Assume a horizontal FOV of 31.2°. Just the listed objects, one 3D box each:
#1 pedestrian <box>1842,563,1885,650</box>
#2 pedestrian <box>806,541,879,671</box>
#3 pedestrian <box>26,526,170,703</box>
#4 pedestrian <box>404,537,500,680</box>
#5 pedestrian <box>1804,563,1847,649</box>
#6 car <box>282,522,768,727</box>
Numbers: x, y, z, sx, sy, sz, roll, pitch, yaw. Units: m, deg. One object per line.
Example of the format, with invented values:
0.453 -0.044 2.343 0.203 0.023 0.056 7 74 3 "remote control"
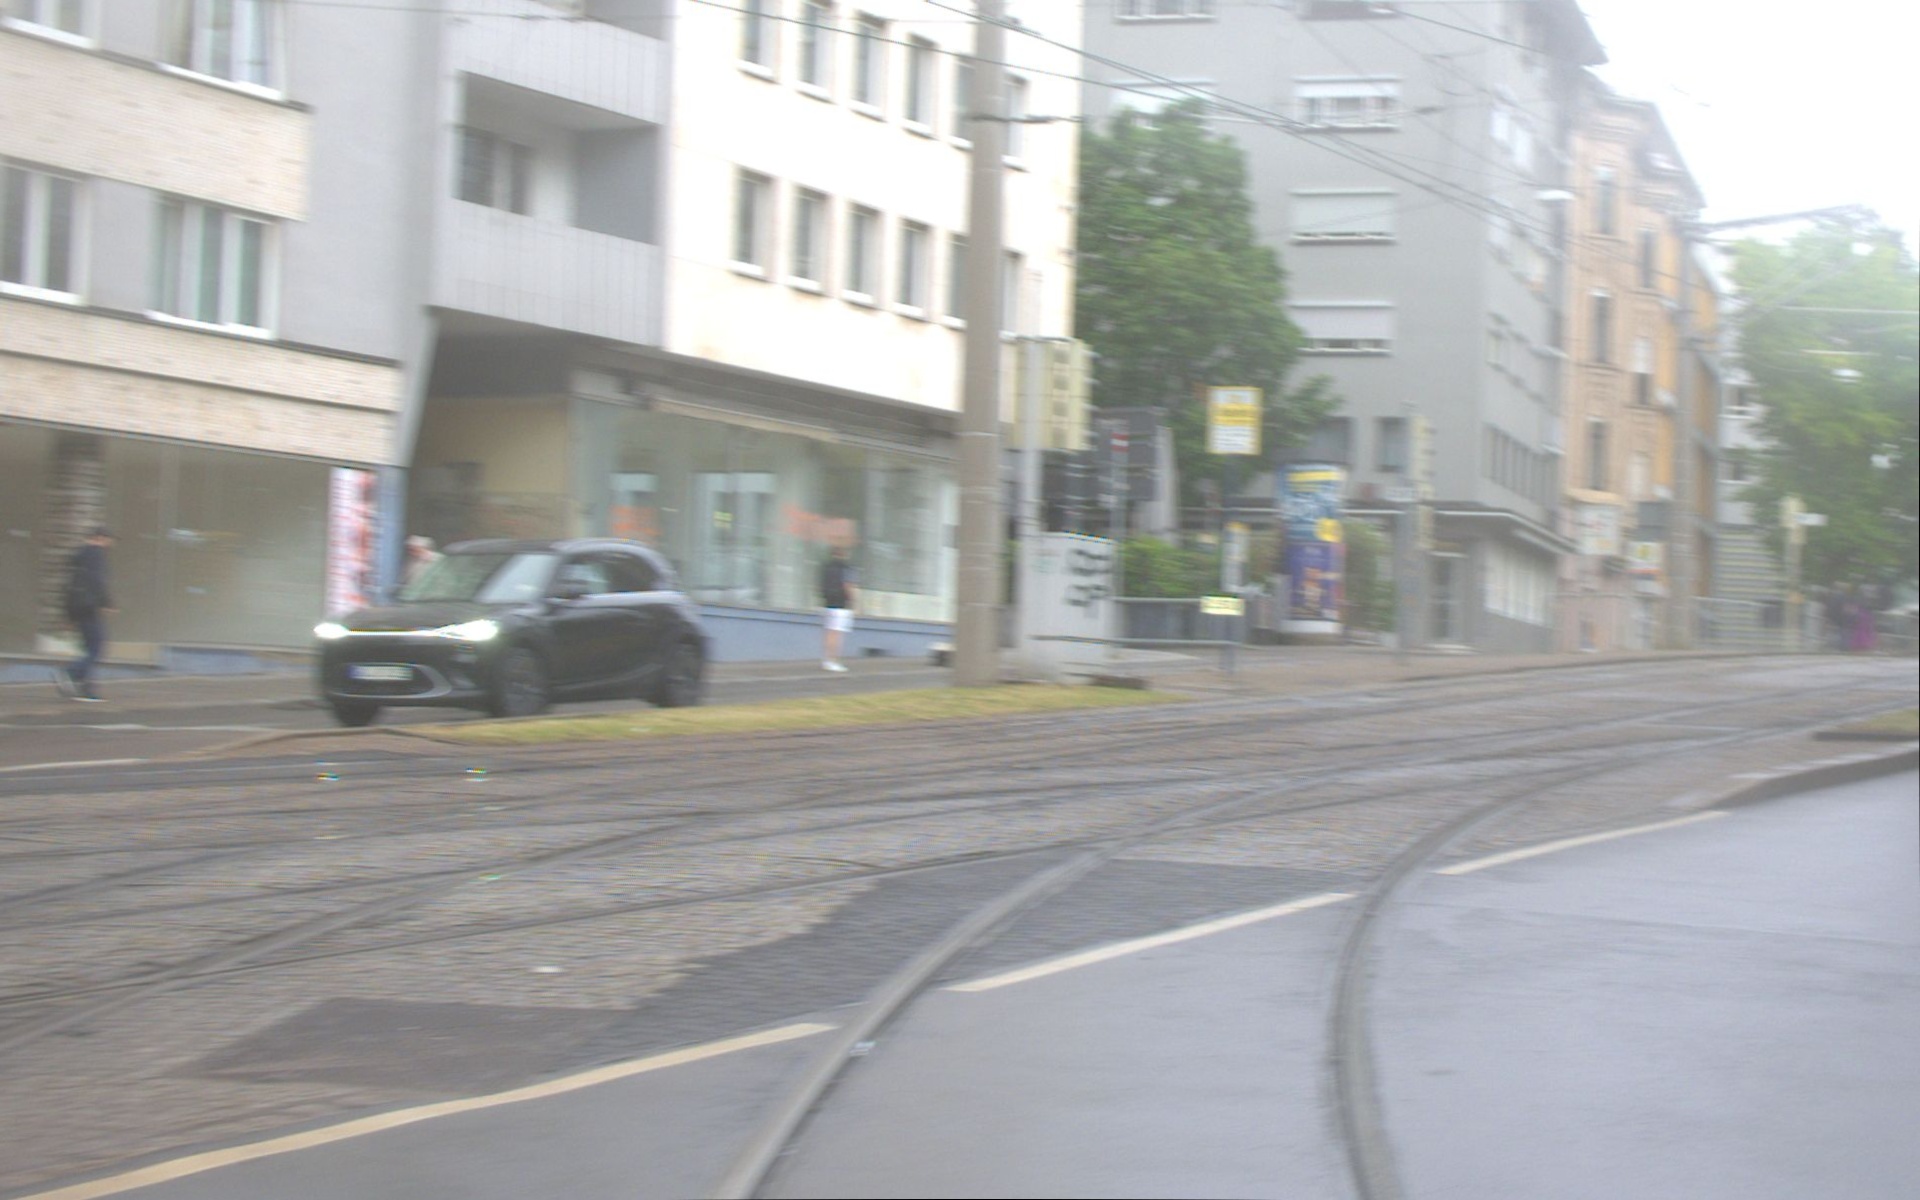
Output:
18.855 0.130 71.727 0.733 1.784 0.695 1 0 26 "pedestrian"
-1.586 0.074 46.484 0.597 1.732 0.908 1 0 26 "pedestrian"
-8.311 0.134 33.169 0.889 1.675 0.997 1 0 29 "pedestrian"
-6.079 0.098 41.158 0.679 1.675 0.997 1 0 26 "pedestrian"
18.146 0.119 72.059 0.733 1.784 0.695 1 0 26 "pedestrian"
-3.729 0.186 30.331 1.997 1.667 4.520 1 0 28 "car"
